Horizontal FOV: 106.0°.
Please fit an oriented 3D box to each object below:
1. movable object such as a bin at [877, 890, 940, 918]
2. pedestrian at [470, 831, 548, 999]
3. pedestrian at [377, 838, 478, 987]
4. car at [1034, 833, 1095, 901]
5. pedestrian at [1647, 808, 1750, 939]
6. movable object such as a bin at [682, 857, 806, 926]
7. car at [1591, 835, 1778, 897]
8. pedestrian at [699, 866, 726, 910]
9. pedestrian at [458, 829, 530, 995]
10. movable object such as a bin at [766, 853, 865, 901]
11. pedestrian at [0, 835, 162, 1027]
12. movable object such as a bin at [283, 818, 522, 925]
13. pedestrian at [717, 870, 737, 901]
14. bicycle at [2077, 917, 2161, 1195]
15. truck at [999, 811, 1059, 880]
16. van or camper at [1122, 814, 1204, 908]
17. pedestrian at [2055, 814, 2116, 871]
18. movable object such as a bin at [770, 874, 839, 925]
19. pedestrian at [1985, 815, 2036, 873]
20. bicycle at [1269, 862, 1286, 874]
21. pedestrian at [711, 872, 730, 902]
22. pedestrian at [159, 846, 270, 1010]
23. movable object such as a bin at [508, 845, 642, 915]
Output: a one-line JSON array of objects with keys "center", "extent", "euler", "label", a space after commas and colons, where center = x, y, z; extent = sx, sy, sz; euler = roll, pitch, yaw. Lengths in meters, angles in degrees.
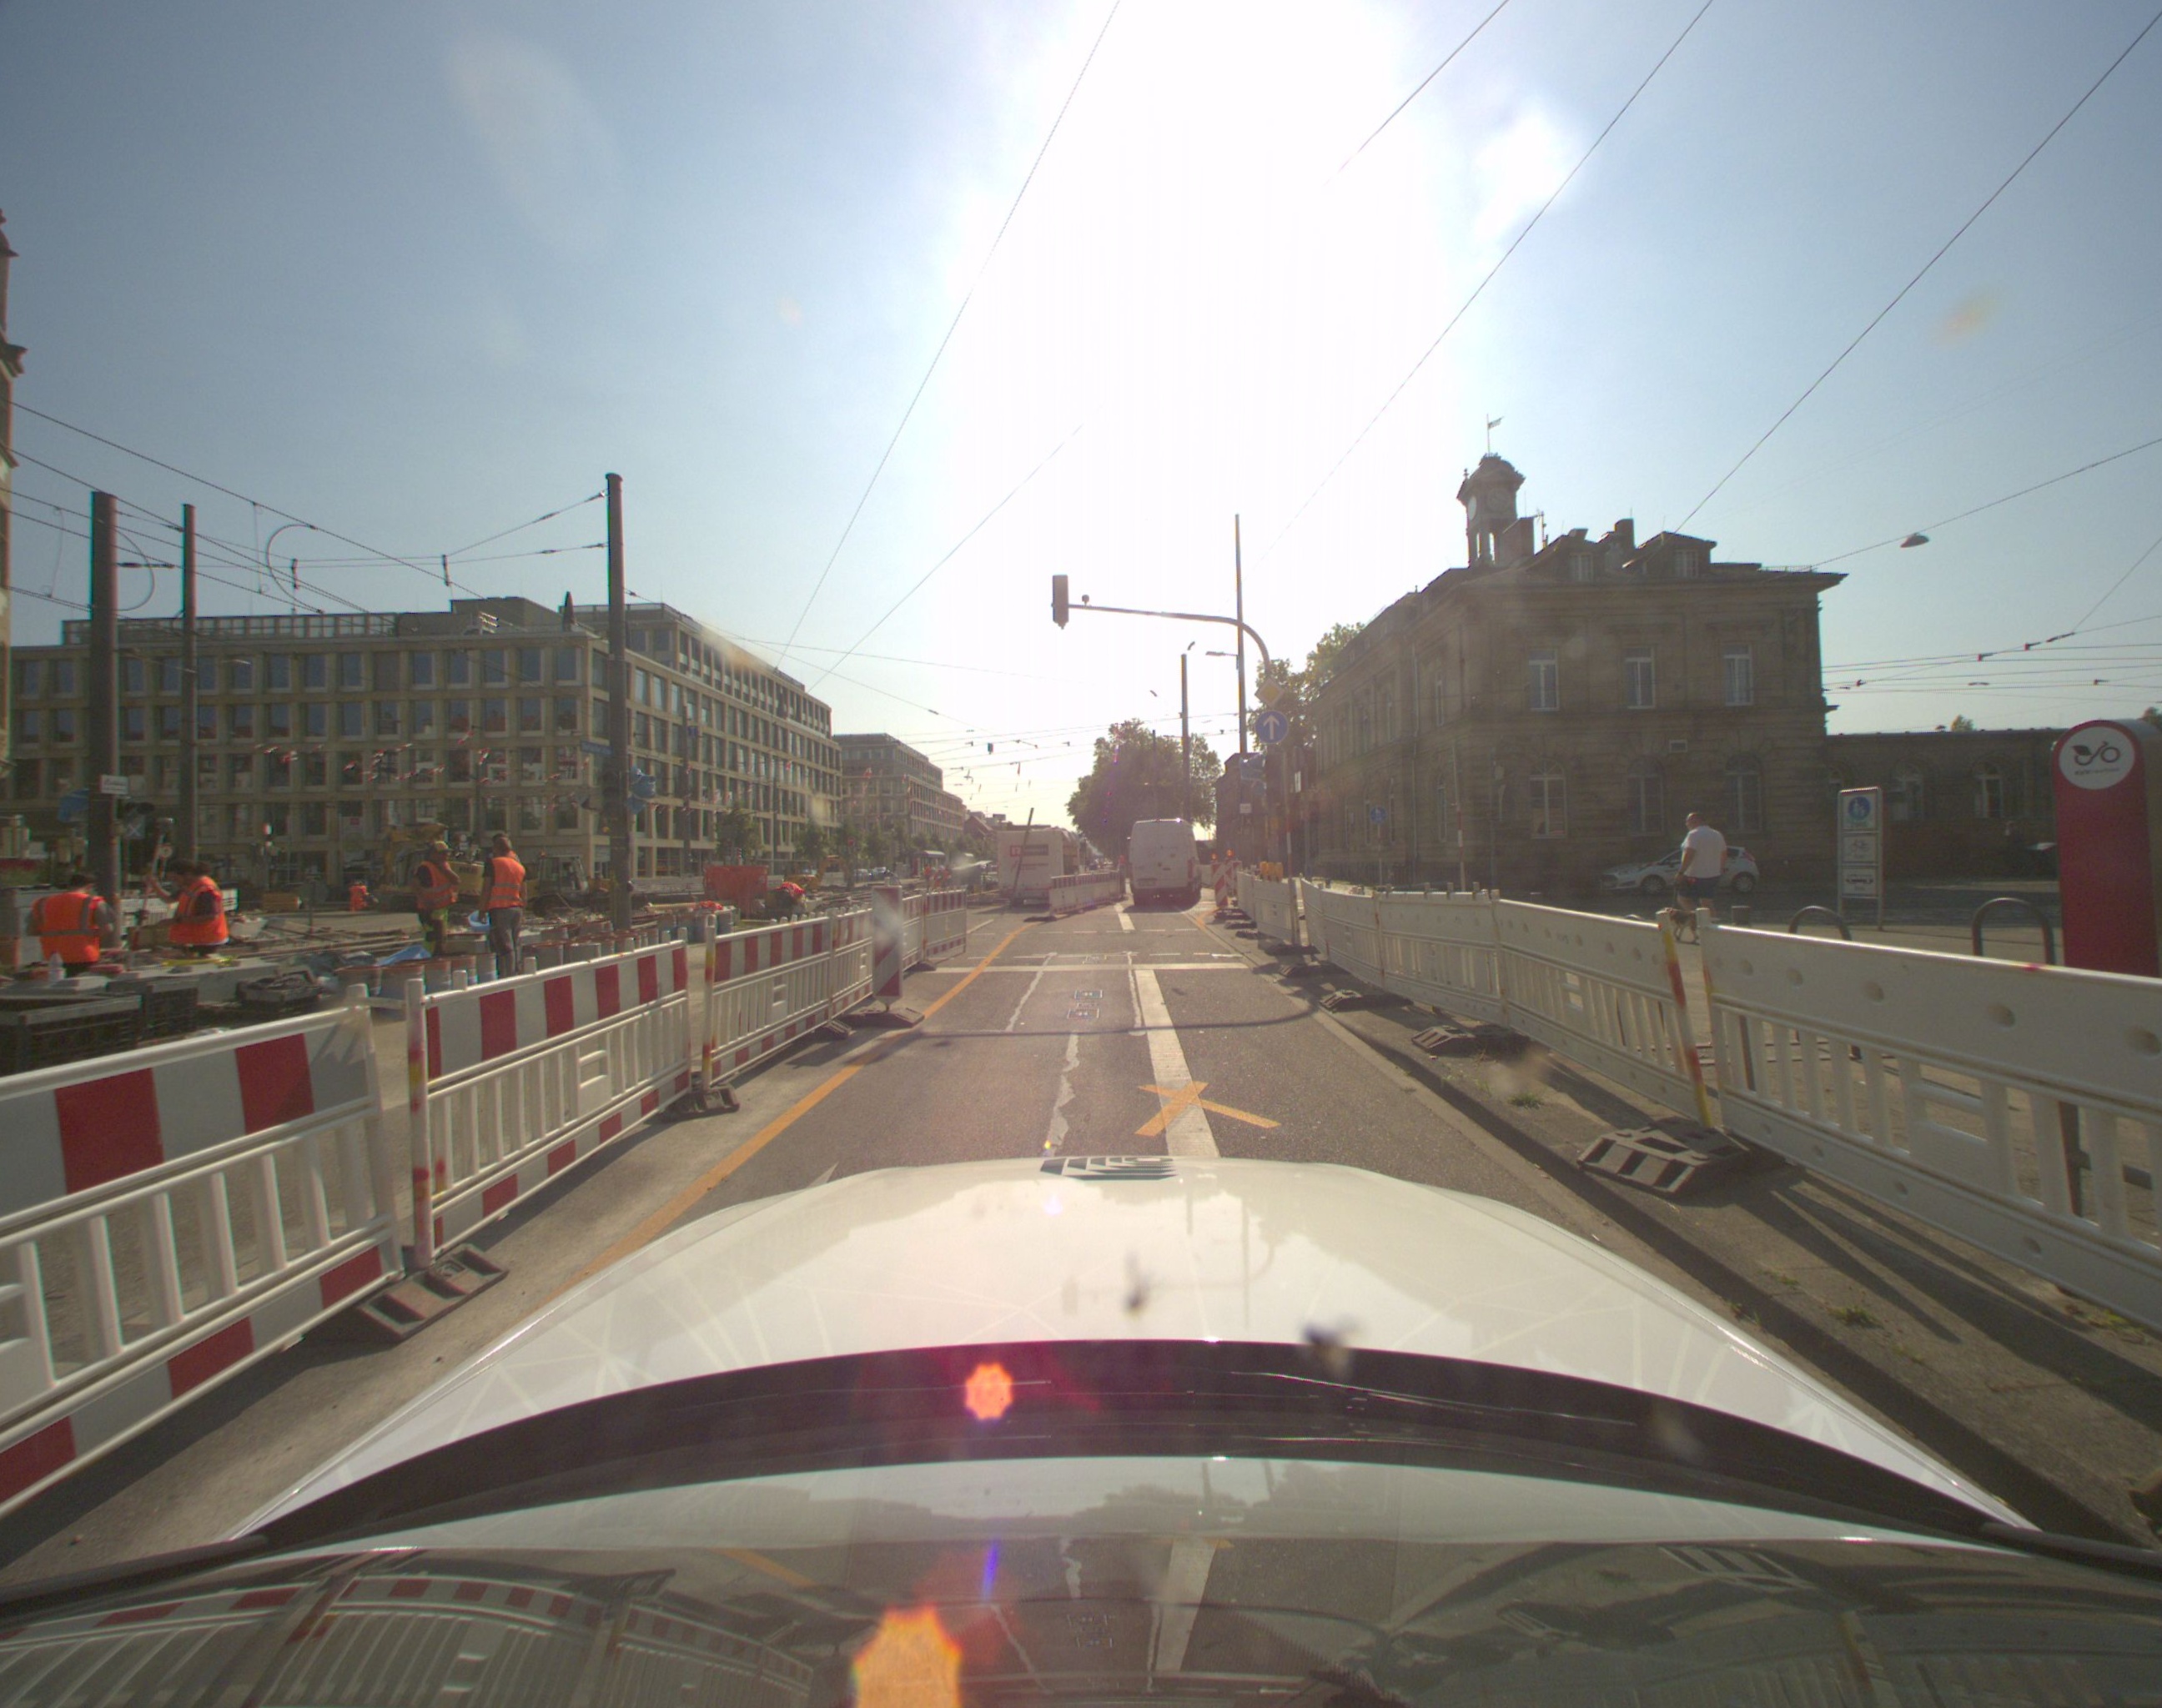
[{"center": [-4.777, 1.387, 22.531], "extent": [1.701, 0.713, 0.722], "euler": [-3, -2, 35], "label": "movable object such as a bin"}, {"center": [-6.877, 0.701, 9.803], "extent": [0.717, 1.926, 0.677], "euler": [-1, -2, -35], "label": "pedestrian"}, {"center": [-8.534, 0.749, 10.656], "extent": [0.714, 1.870, 0.710], "euler": [-2, -1, 10], "label": "pedestrian"}, {"center": [-0.661, 0.553, 33.695], "extent": [2.201, 2.424, 7.196], "euler": [-2, -1, -1], "label": "car"}, {"center": [8.511, 0.262, 11.252], "extent": [0.864, 1.737, 0.670], "euler": [-1, -1, -3], "label": "pedestrian"}, {"center": [-8.449, 0.906, 20.693], "extent": [1.593, 1.559, 3.289], "euler": [-2, -1, 3], "label": "movable object such as a bin"}, {"center": [17.225, 0.350, 23.410], "extent": [3.977, 1.537, 1.668], "euler": [-3, -1, 7], "label": "car"}, {"center": [-16.337, 1.488, 36.141], "extent": [0.781, 1.912, 0.725], "euler": [-2, -1, 10], "label": "pedestrian"}, {"center": [-7.484, 0.709, 10.401], "extent": [0.700, 2.015, 0.667], "euler": [-1, -2, -35], "label": "pedestrian"}, {"center": [-17.555, 1.528, 54.688], "extent": [3.600, 2.958, 8.479], "euler": [0, -2, 2], "label": "movable object such as a bin"}, {"center": [-10.158, 0.743, 8.223], "extent": [0.821, 1.817, 0.888], "euler": [-2, -1, 17], "label": "pedestrian"}, {"center": [-30.695, 0.852, 37.119], "extent": [7.303, 4.348, 4.988], "euler": [-2, -2, 15], "label": "movable object such as a bin"}, {"center": [-22.146, 1.966, 50.933], "extent": [0.923, 1.865, 0.807], "euler": [-1, -1, -9], "label": "pedestrian"}, {"center": [4.232, 0.741, 2.446], "extent": [0.536, 1.006, 1.572], "euler": [-3, -1, 2], "label": "bicycle"}, {"center": [-3.411, -0.458, 51.190], "extent": [2.793, 3.913, 8.388], "euler": [0, 0, -10], "label": "truck"}, {"center": [2.832, 0.205, 26.854], "extent": [2.102, 2.682, 5.265], "euler": [-4, 0, 10], "label": "van or camper"}, {"center": [33.448, -0.371, 27.136], "extent": [0.669, 1.864, 1.034], "euler": [-1, -1, -12], "label": "pedestrian"}, {"center": [-7.100, 1.134, 21.037], "extent": [0.883, 1.211, 2.214], "euler": [-2, -1, 3], "label": "movable object such as a bin"}, {"center": [30.867, -0.318, 27.044], "extent": [0.665, 1.864, 0.871], "euler": [-2, -1, 10], "label": "pedestrian"}, {"center": [16.767, 1.185, 69.550], "extent": [0.492, 0.999, 1.807], "euler": [-1, 1, -17], "label": "bicycle"}, {"center": [-23.056, 2.083, 52.060], "extent": [0.746, 1.865, 0.815], "euler": [-2, -1, 39], "label": "pedestrian"}, {"center": [-10.104, 0.824, 9.529], "extent": [0.835, 1.810, 0.745], "euler": [-1, -2, -43], "label": "pedestrian"}, {"center": [-22.115, 1.097, 35.642], "extent": [4.837, 2.834, 2.422], "euler": [-1, -2, -36], "label": "movable object such as a bin"}]
